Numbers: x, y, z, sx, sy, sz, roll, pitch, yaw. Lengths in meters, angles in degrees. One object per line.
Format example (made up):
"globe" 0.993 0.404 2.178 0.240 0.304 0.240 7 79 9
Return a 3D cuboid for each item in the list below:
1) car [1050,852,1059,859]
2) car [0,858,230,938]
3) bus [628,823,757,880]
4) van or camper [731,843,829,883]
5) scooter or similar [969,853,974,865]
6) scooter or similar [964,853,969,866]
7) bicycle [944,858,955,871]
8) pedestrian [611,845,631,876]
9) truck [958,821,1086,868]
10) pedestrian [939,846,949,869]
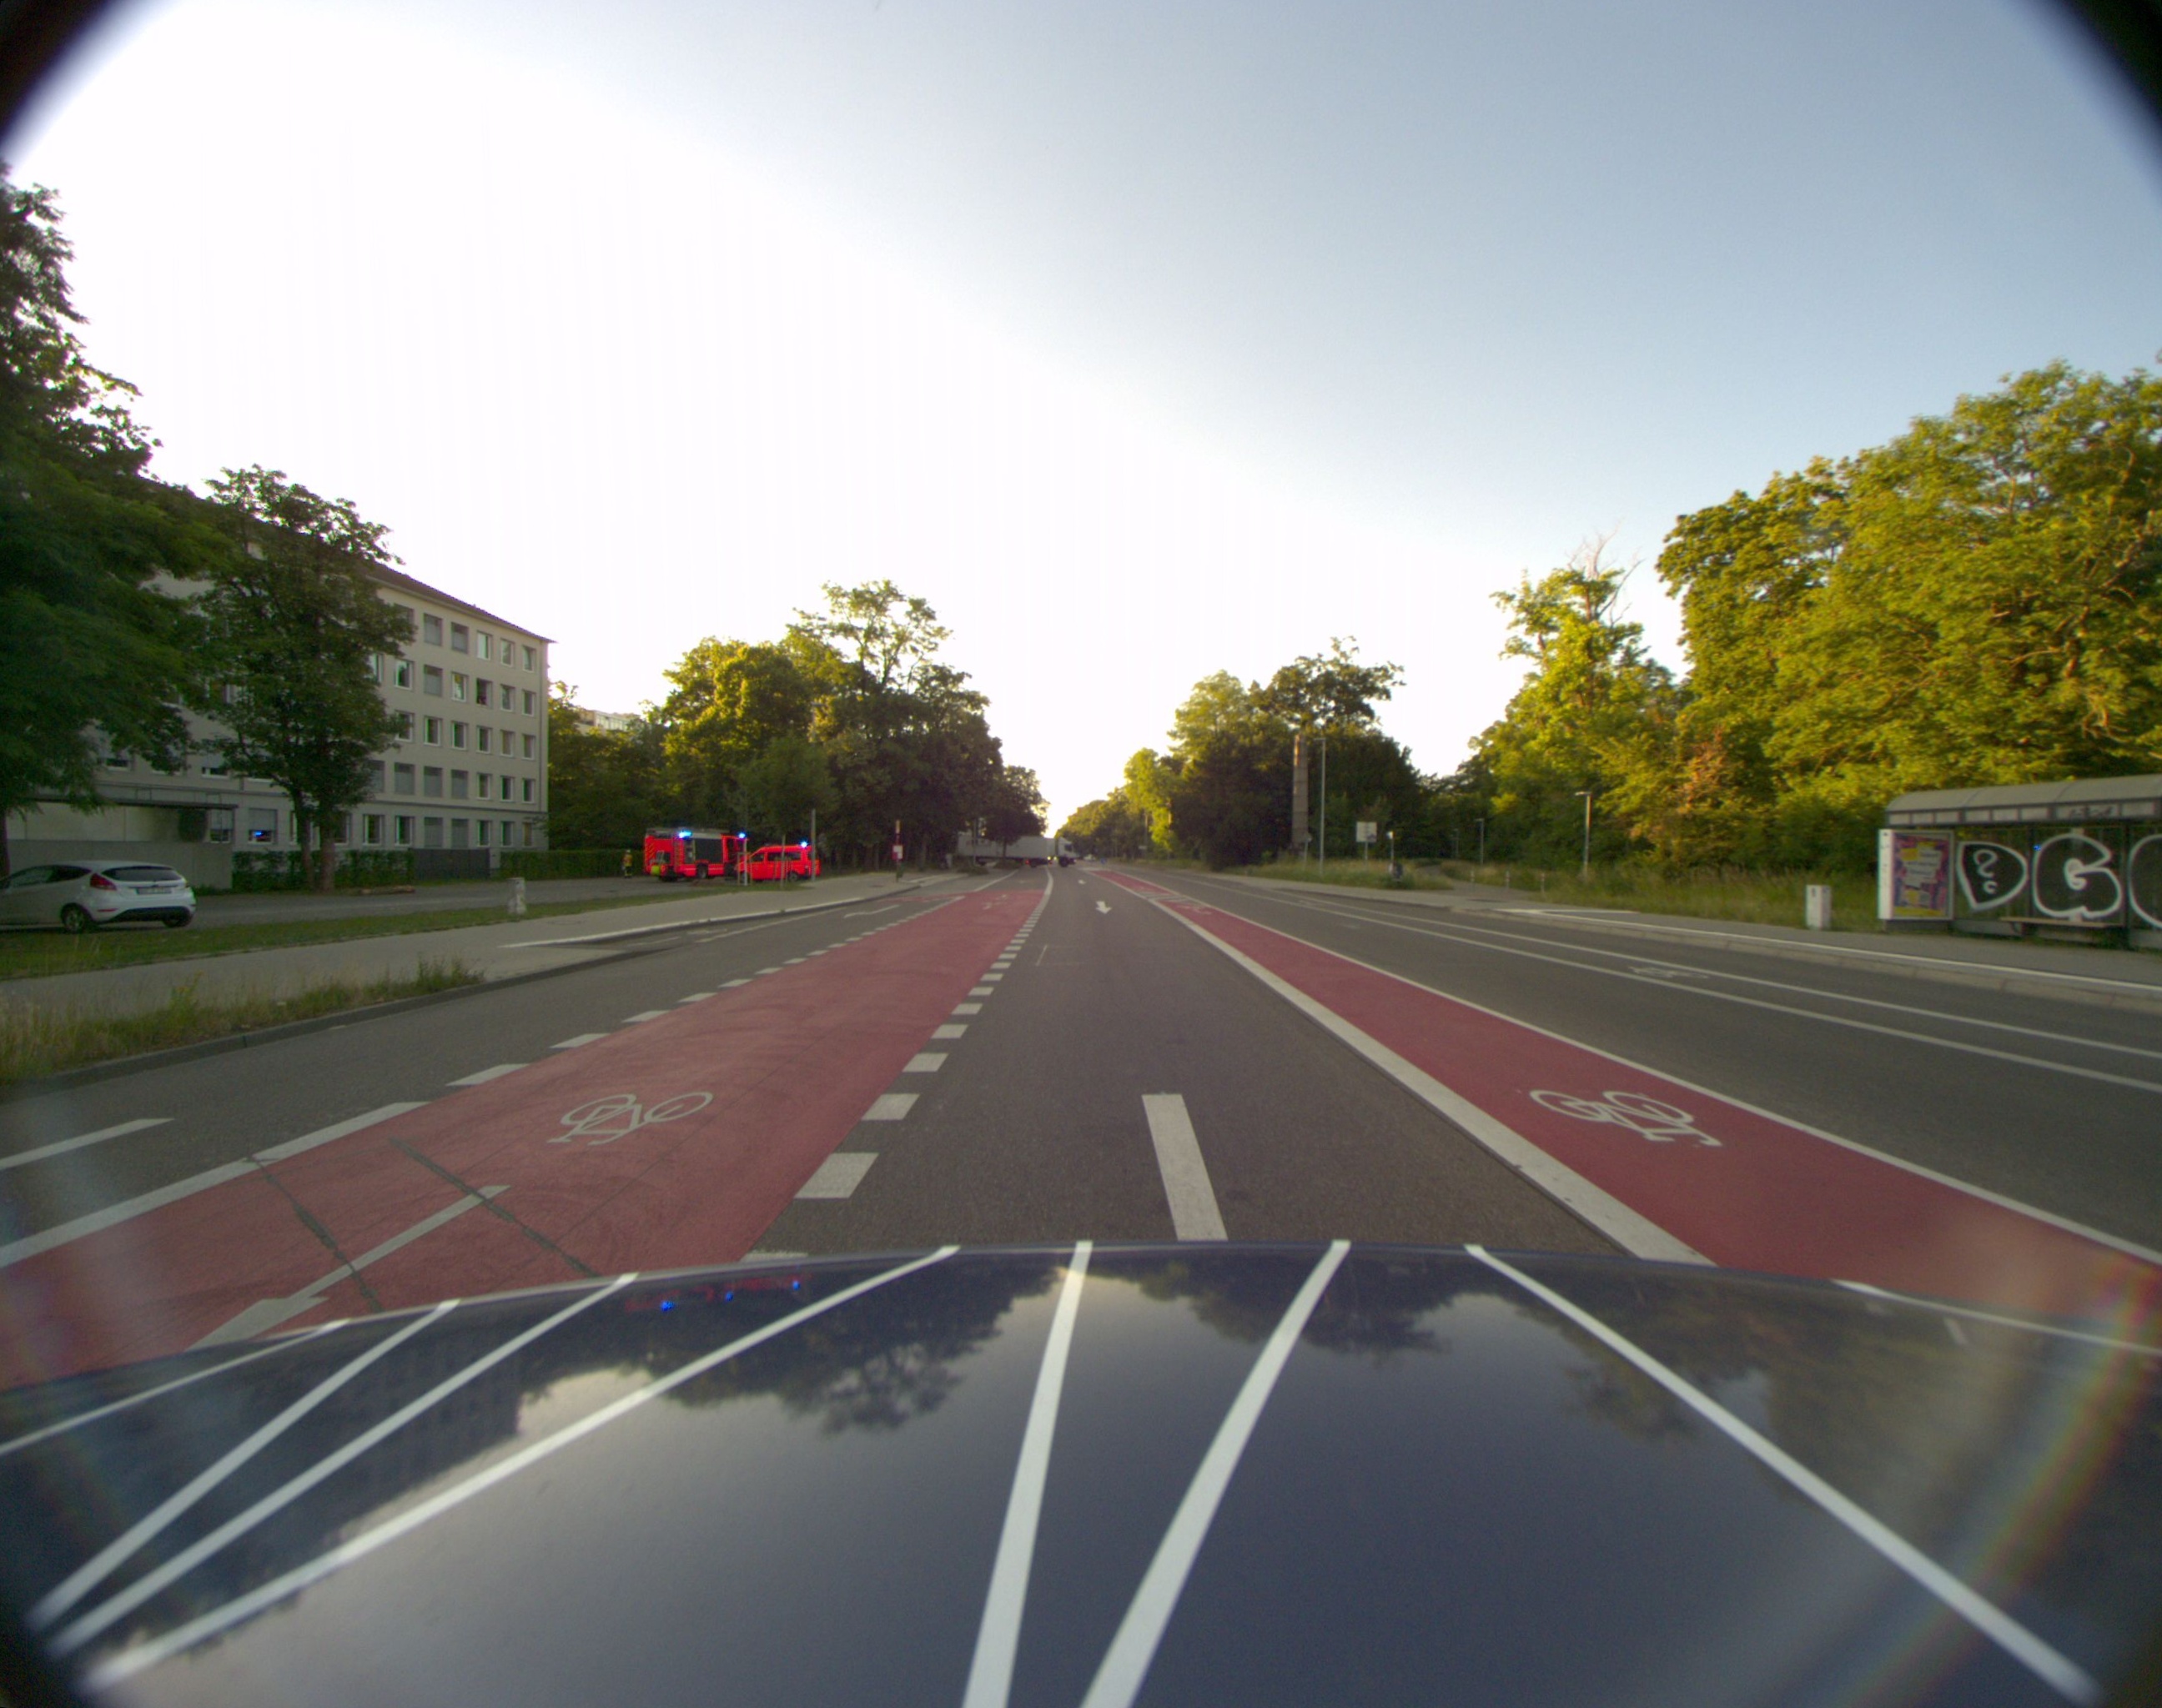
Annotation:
"car" -6.044 0.292 174.139 1.999 1.608 3.999 0 0 -1
"car" -20.949 0.900 16.019 3.996 1.528 1.912 -1 1 4
"bus" -23.748 -0.161 47.041 2.993 3.177 7.968 -1 1 8
"van or camper" -17.670 0.504 44.778 4.822 2.232 2.296 -1 1 9
"scooter or similar" -11.960 0.579 83.154 0.483 1.274 1.139 2 0 -8
"scooter or similar" -12.218 0.578 81.283 0.483 1.274 1.230 2 0 -8
"bicycle" -11.427 0.913 65.966 0.833 1.091 1.966 -2 1 -11
"pedestrian" -29.893 0.423 49.384 0.772 2.002 0.826 0 1 9
"truck" -7.296 -1.138 94.552 15.050 5.542 5.166 0 1 19
"pedestrian" -11.901 0.313 65.901 0.726 2.002 0.694 0 1 -19
